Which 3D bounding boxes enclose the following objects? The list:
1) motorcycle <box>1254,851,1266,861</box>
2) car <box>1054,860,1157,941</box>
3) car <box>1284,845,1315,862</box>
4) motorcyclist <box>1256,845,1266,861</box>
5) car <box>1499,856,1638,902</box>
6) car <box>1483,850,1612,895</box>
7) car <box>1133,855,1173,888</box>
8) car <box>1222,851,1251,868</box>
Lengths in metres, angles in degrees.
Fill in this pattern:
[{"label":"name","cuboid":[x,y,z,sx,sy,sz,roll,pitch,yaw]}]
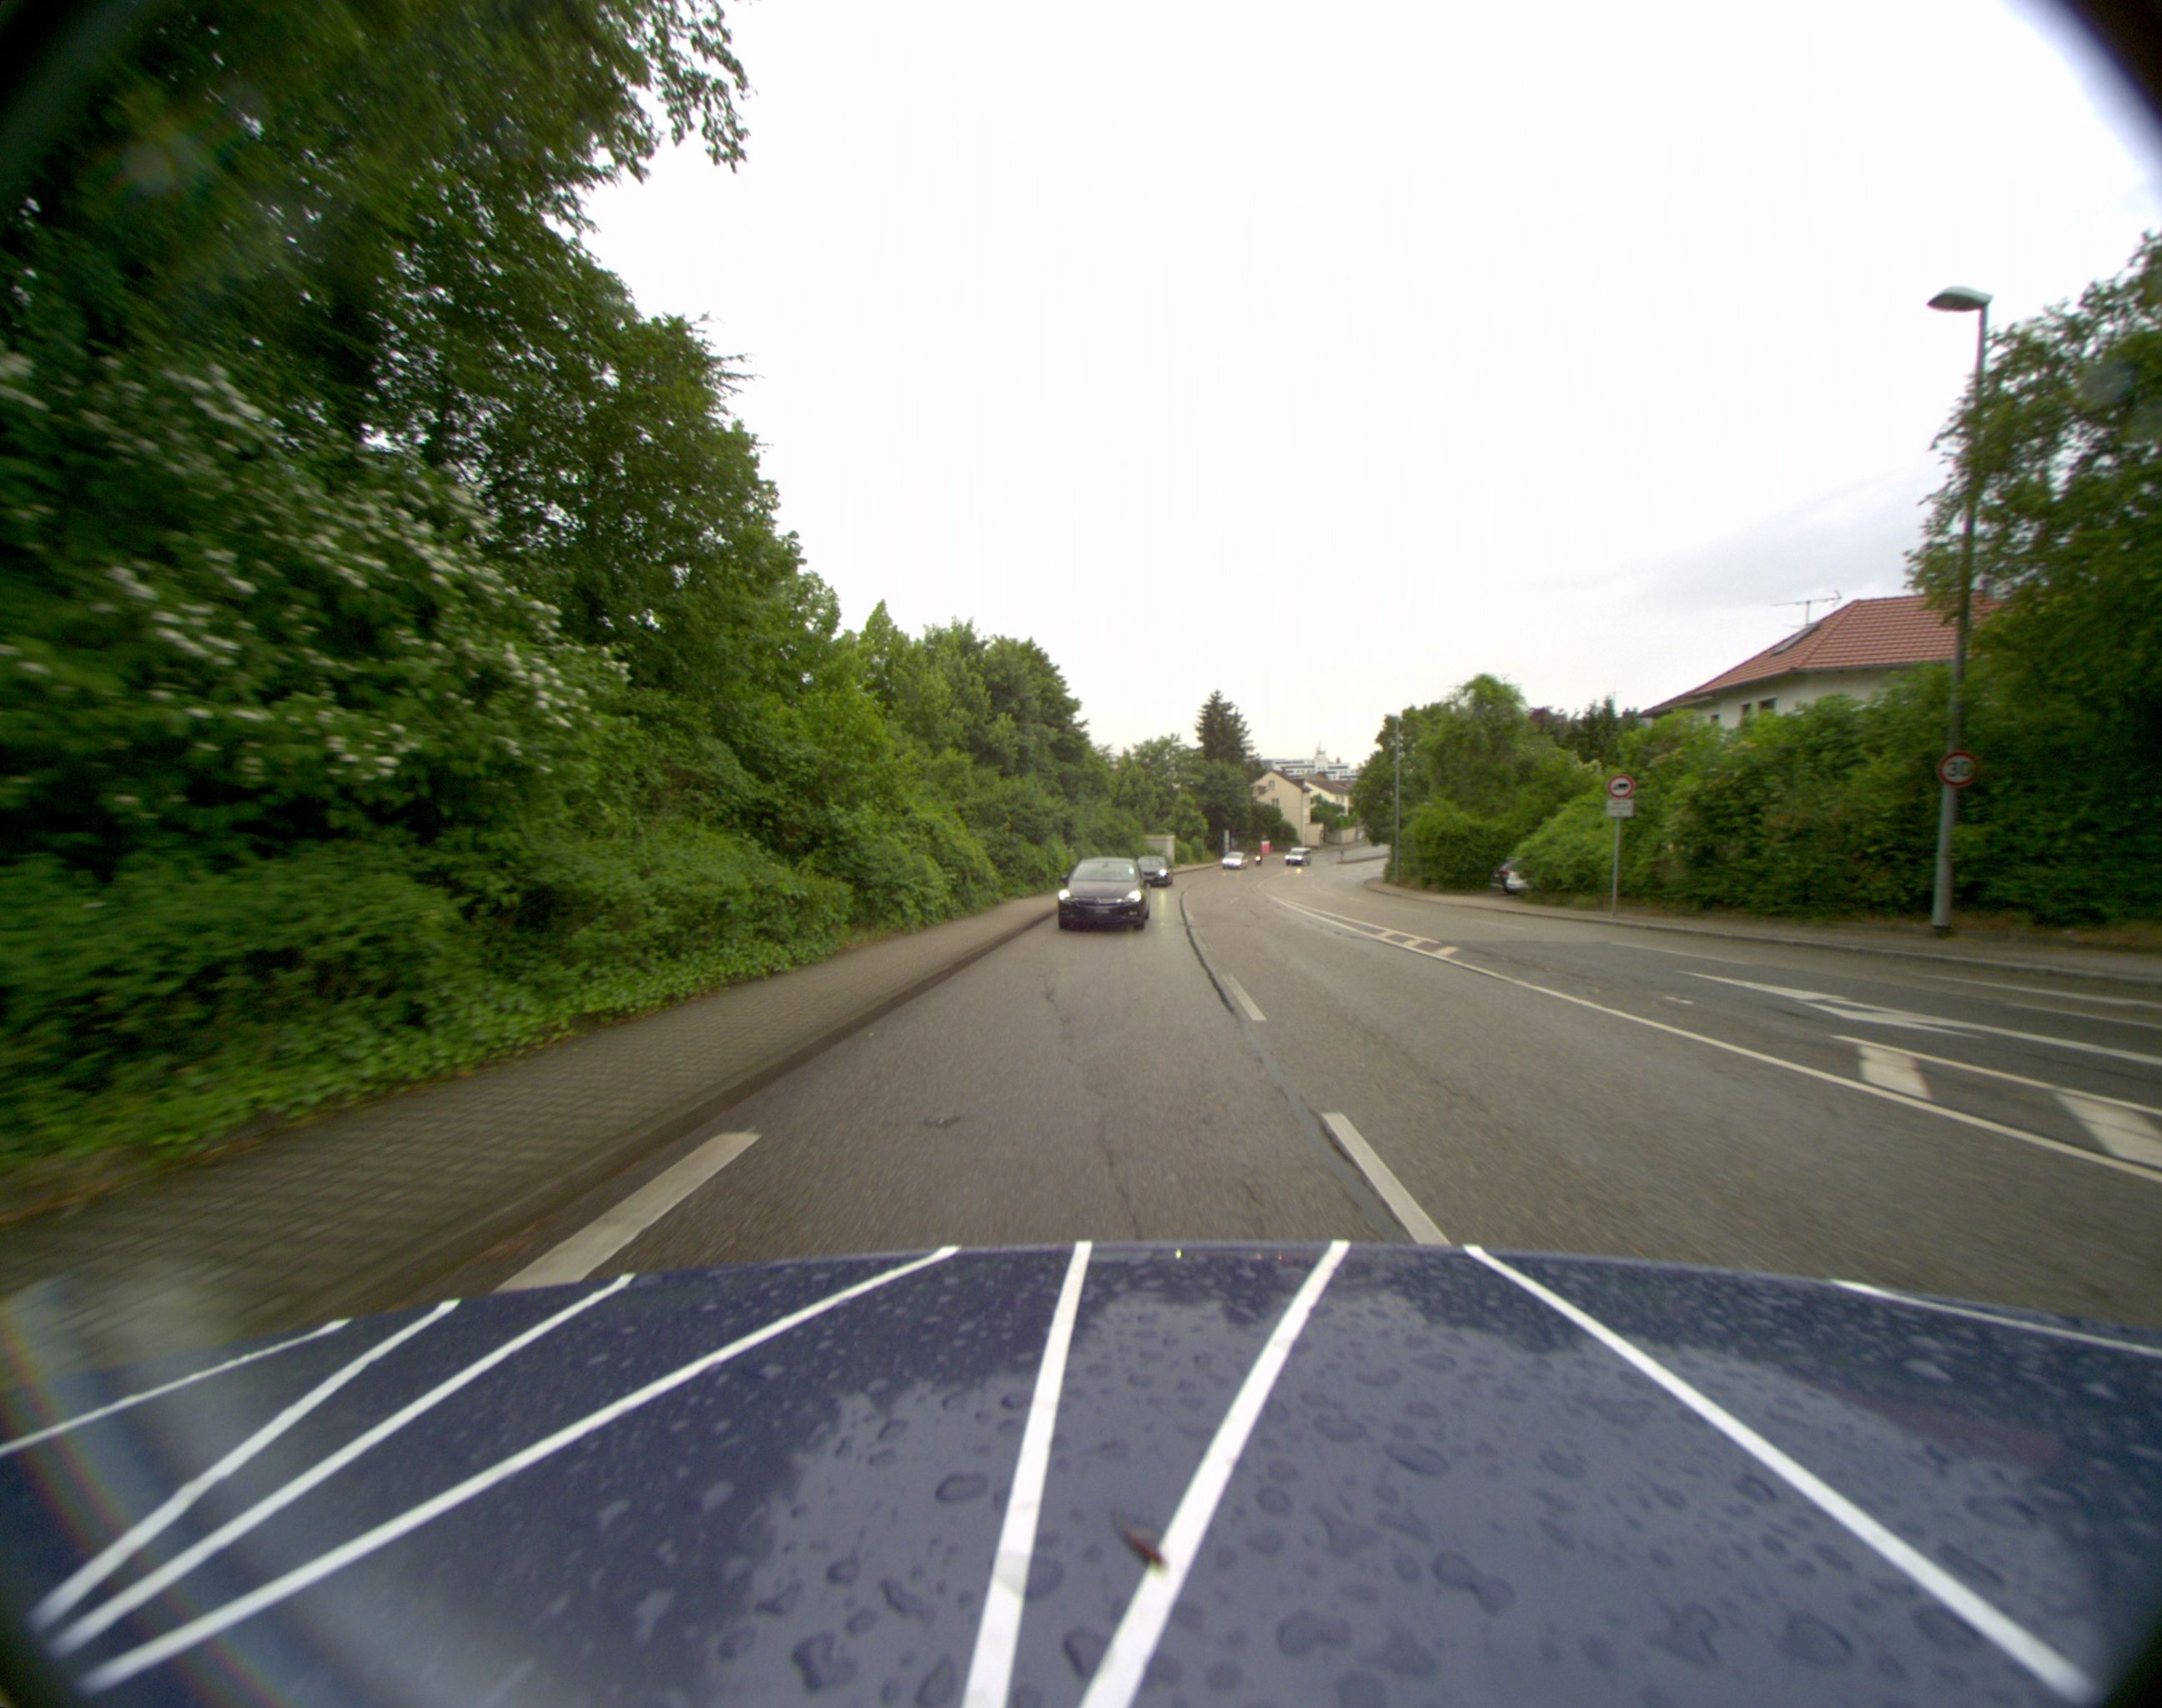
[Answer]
[{"label":"motorcycle","cuboid":[18.885,0.199,80.001,0.691,1.047,1.751,3,2,31]},{"label":"car","cuboid":[0.668,0.903,16.577,1.815,1.434,4.164,1,1,7]},{"label":"car","cuboid":[23.773,-0.022,82.631,1.773,1.765,4.009,4,2,38]},{"label":"motorcyclist","cuboid":[19.013,-0.125,80.223,0.765,1.633,0.676,3,2,31]},{"label":"car","cuboid":[18.229,0.925,28.575,3.908,1.432,1.812,-4,0,9]},{"label":"car","cuboid":[19.102,0.763,31.290,3.995,1.527,2.001,-4,0,8]},{"label":"car","cuboid":[3.655,0.829,38.139,1.871,1.497,4.199,1,1,7]},{"label":"car","cuboid":[14.446,0.527,70.567,1.814,1.430,4.007,3,1,23]}]
